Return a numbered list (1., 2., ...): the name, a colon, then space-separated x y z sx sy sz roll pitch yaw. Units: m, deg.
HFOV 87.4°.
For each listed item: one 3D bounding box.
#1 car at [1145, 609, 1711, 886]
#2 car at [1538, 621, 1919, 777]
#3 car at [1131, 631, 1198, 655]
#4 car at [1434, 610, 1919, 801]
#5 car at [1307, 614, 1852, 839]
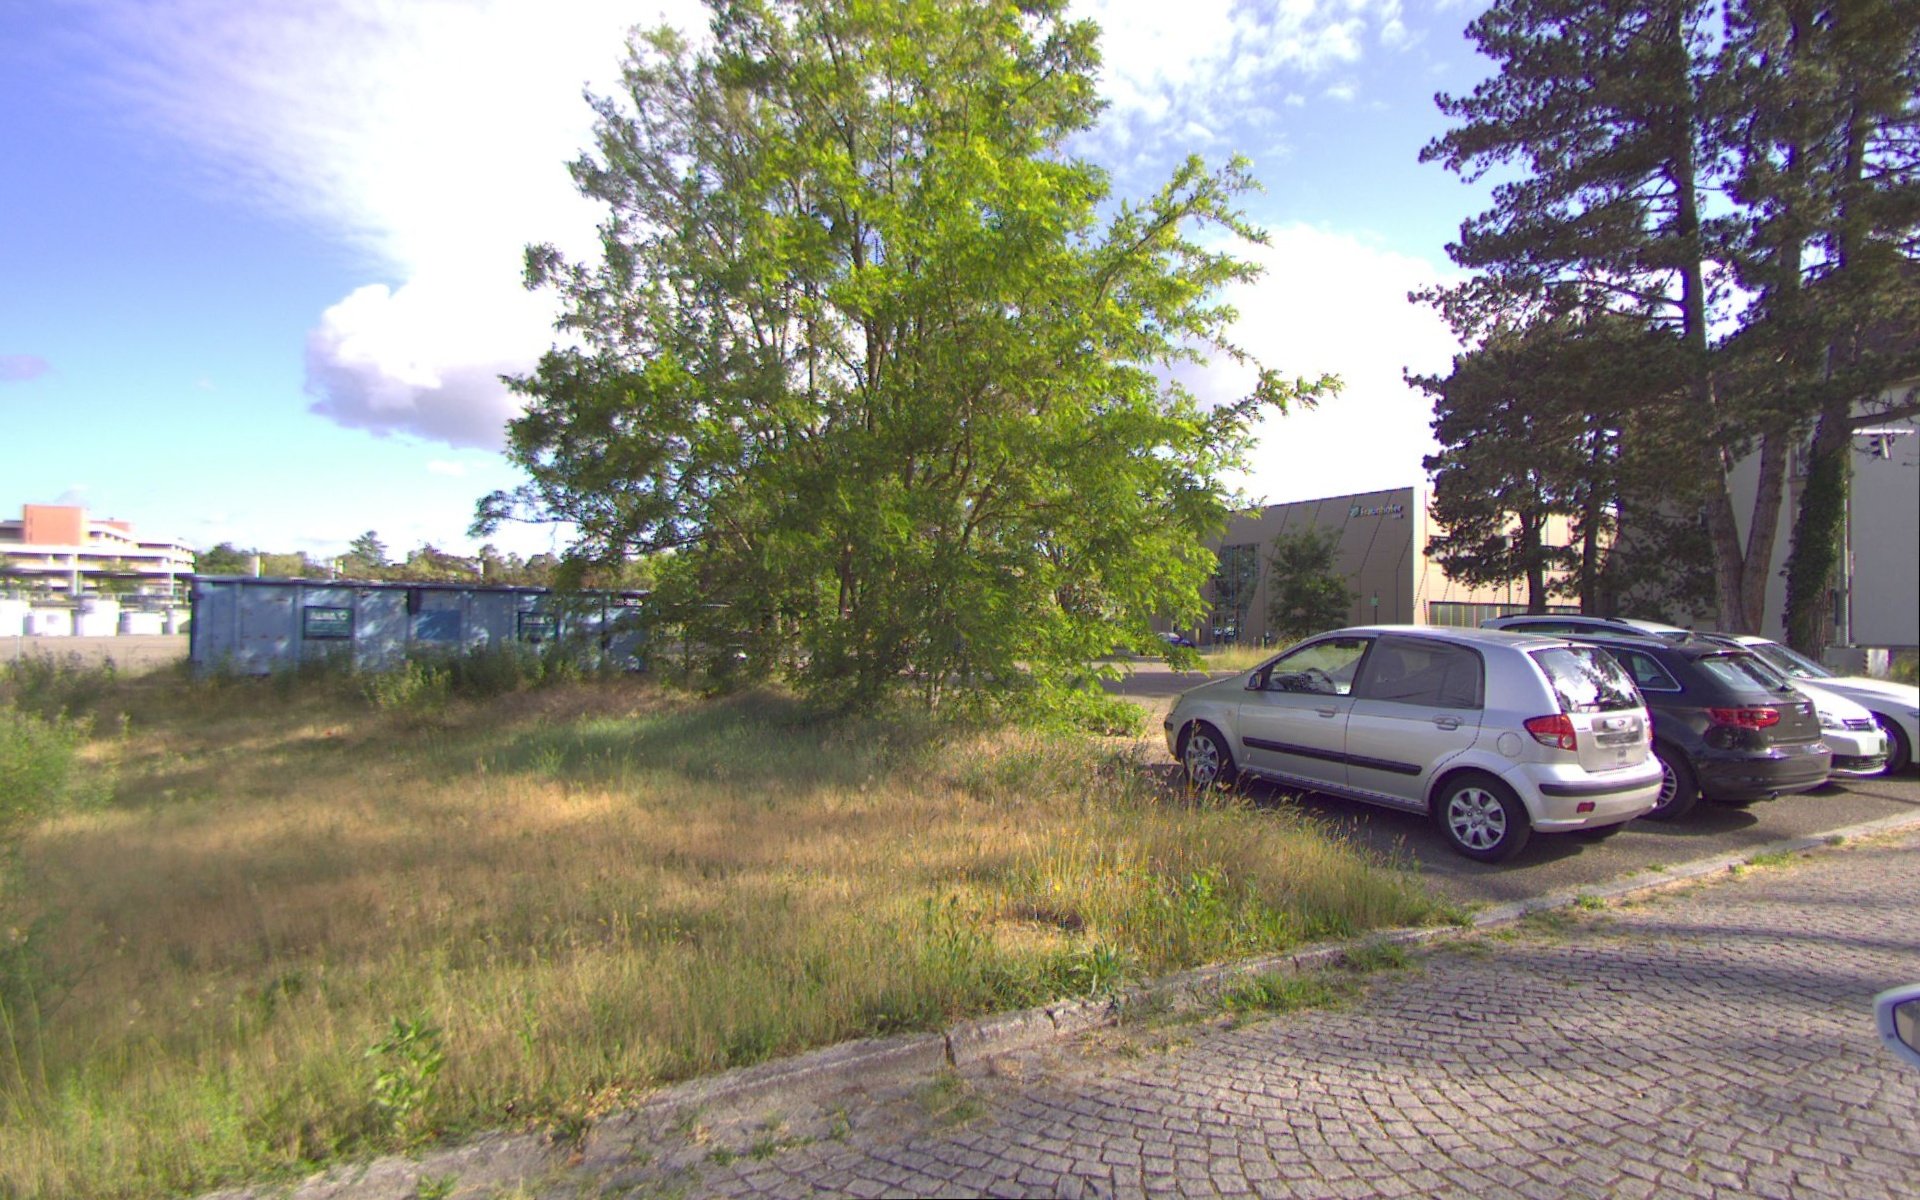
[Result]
1. car: 3.348 0.886 7.874 1.628 1.507 3.724 1 1 -33
2. car: 9.880 1.086 12.488 1.811 1.488 4.308 1 1 -33
3. car: 12.998 2.733 63.746 3.953 1.452 1.893 2 -2 -30
4. car: 7.782 0.985 11.300 1.865 1.614 4.056 1 1 -33
5. car: 5.487 0.947 9.414 1.784 1.500 3.963 1 1 -33
